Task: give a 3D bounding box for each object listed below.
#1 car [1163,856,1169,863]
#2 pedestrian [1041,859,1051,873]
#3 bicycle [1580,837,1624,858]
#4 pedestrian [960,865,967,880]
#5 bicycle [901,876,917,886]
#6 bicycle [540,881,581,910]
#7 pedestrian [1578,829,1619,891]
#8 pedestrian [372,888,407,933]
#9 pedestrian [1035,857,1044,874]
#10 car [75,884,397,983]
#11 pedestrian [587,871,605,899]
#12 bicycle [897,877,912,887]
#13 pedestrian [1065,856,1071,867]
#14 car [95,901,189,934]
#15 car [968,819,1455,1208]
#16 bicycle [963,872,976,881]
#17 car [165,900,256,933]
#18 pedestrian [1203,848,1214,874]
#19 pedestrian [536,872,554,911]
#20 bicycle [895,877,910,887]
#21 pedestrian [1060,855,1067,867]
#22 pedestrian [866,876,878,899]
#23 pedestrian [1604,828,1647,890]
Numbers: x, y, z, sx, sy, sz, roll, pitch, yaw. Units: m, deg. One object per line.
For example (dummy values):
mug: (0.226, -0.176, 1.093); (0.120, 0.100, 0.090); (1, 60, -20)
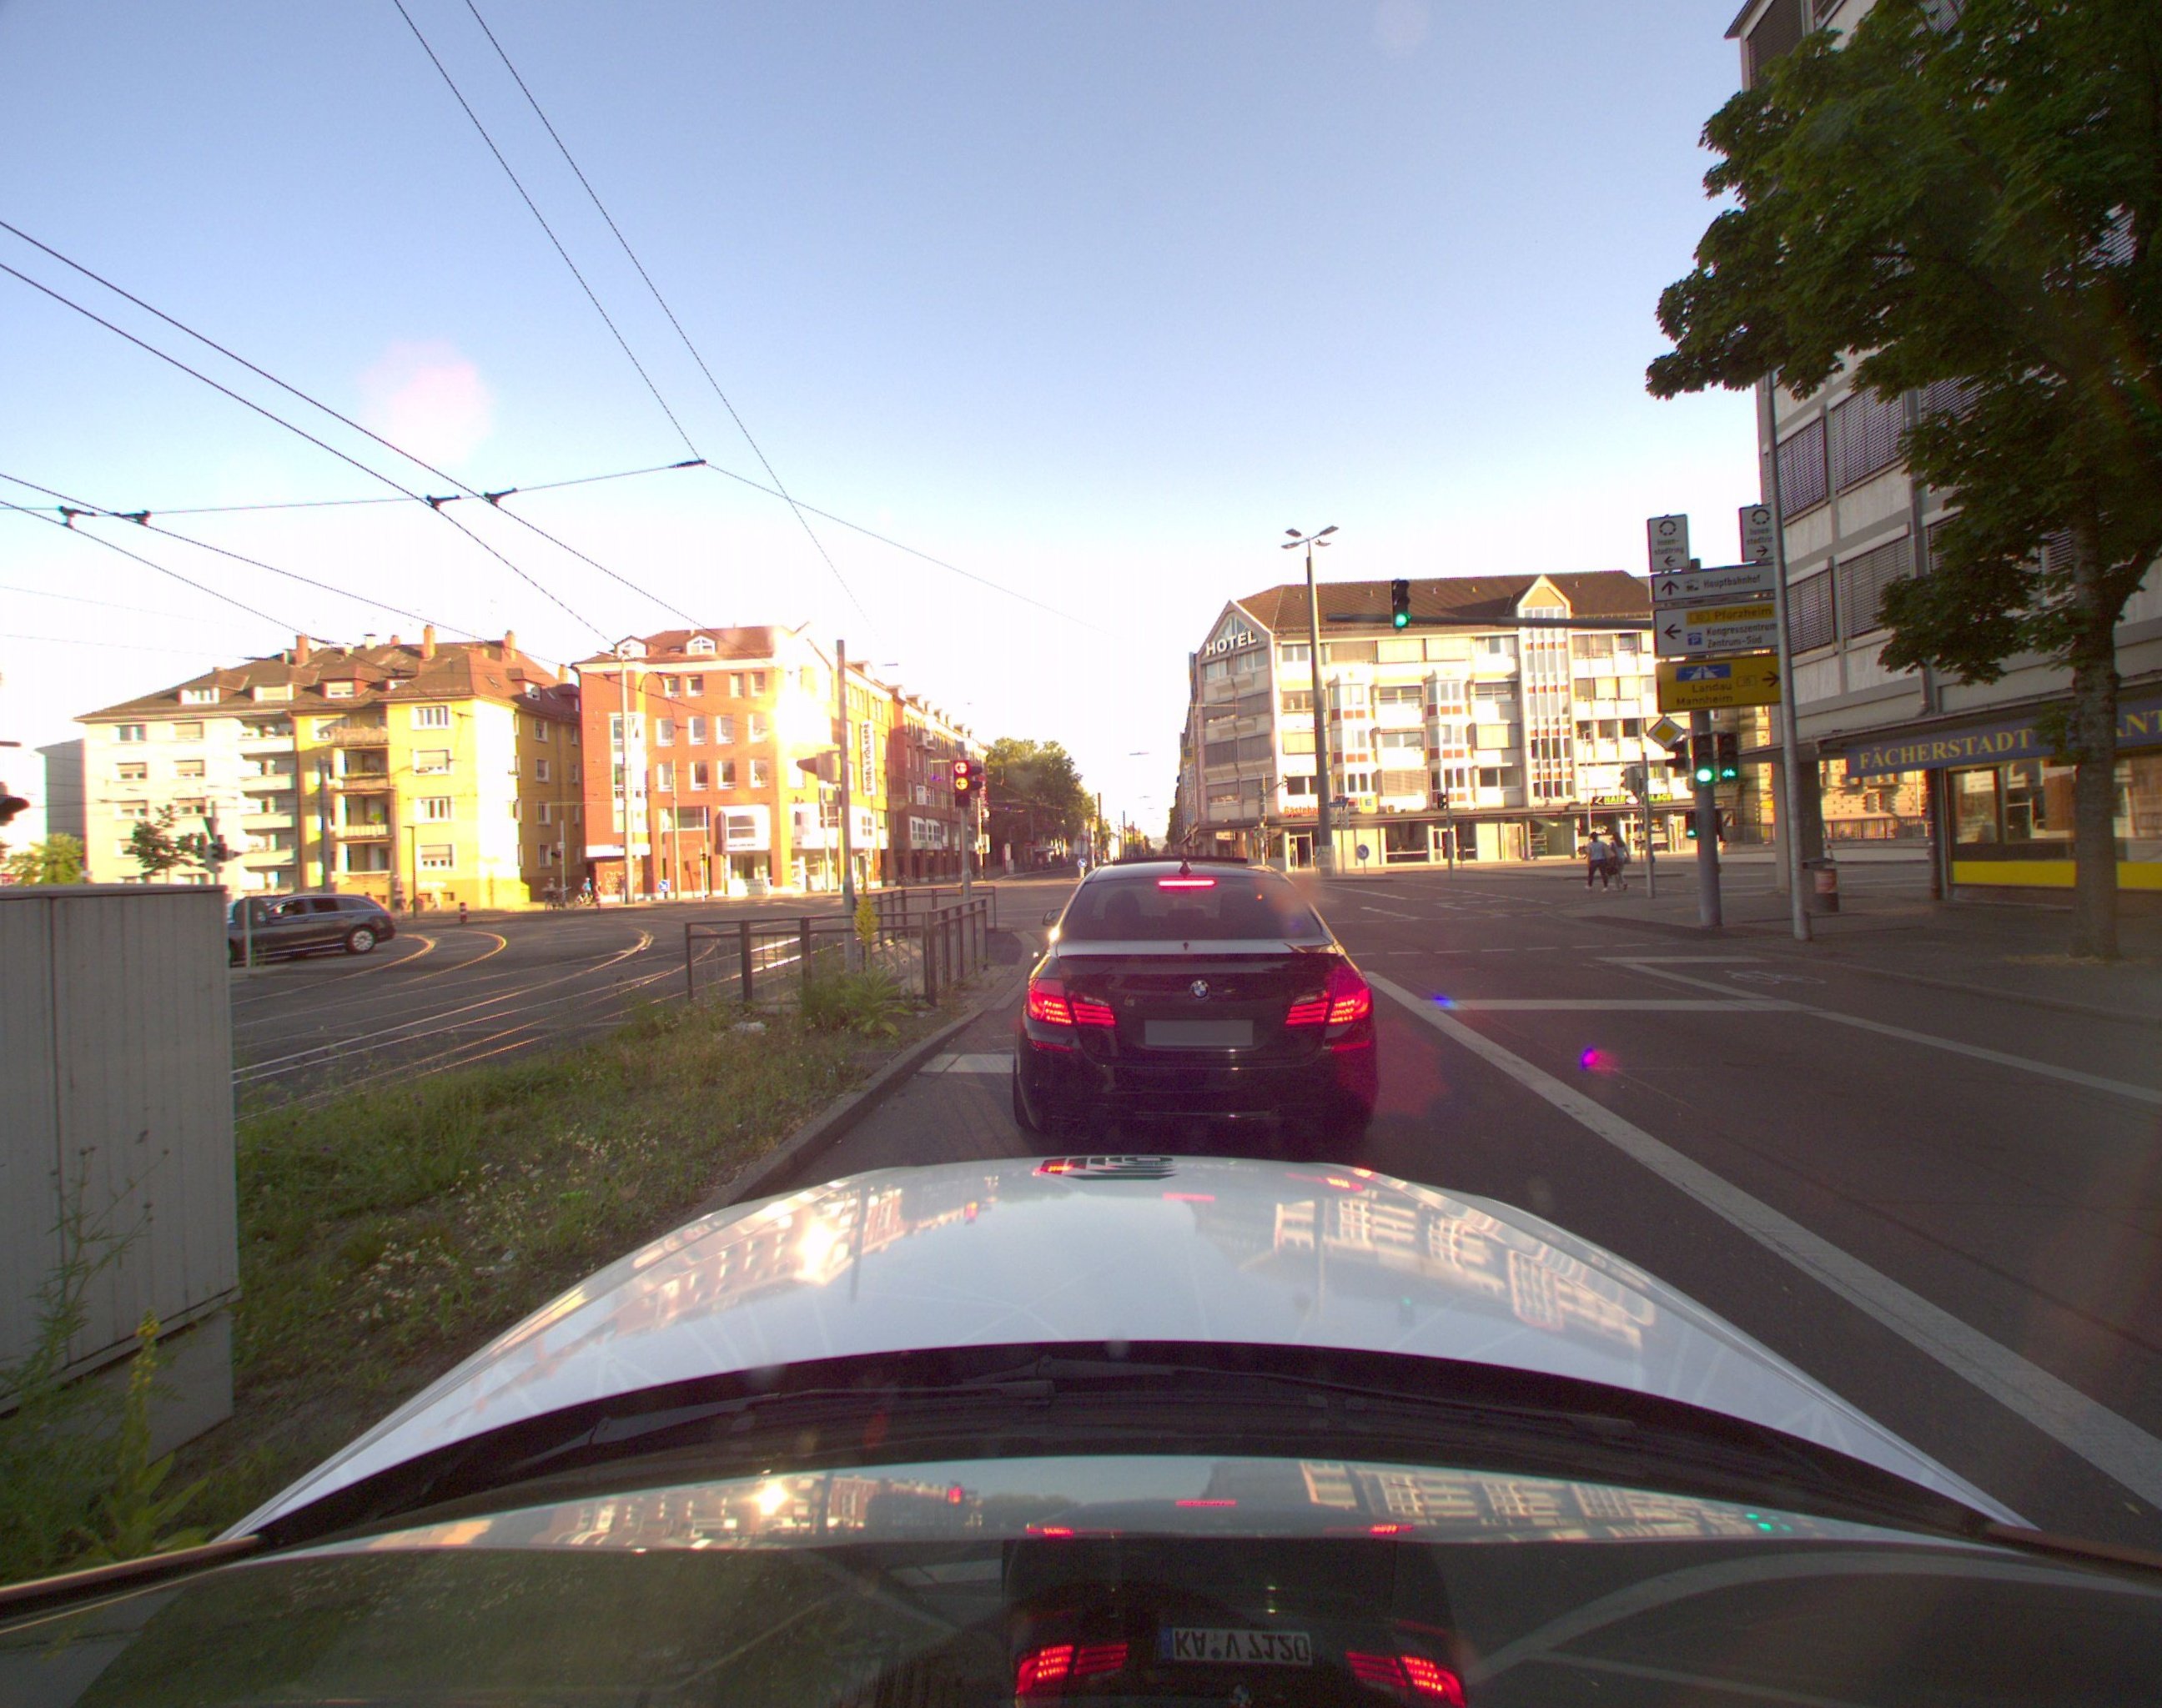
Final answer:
car: (20.143, 1.318, 193.233); (1.466, 1.515, 3.100); (-3, 0, 5)
pedestrian: (-4.257, 1.452, 99.151); (0.983, 1.681, 0.727); (-3, -1, 4)
bicycle: (35.086, -0.443, 54.891); (2.397, 1.265, 0.823); (-3, 0, 0)
pedestrian: (-13.500, 2.123, 93.712); (0.483, 1.681, 0.657); (-3, -1, 10)
bicycle: (-15.733, 2.483, 74.607); (1.413, 0.922, 0.442); (-1, 0, -10)
bicycle: (-25.006, 1.978, 39.178); (0.615, 1.325, 2.017); (-1, 0, 2)
pedestrian: (14.219, 0.166, 22.402); (0.680, 1.667, 0.673); (-3, -1, 9)
pedestrian: (-29.695, 2.419, 34.973); (0.828, 1.868, 0.949); (-1, 0, 36)
pedestrian: (-4.781, 1.336, 94.019); (0.983, 2.014, 0.727); (-1, -1, 4)
car: (-17.587, 1.553, 17.368); (1.985, 1.585, 4.483); (-3, 0, 3)
pedestrian: (-32.880, 2.086, 55.246); (0.802, 1.868, 0.663); (-1, 0, -2)
bicycle: (-15.828, 2.507, 73.191); (1.286, 0.922, 0.348); (-1, 0, -11)
pedestrian: (-1.912, 1.080, 118.861); (0.719, 1.681, 0.993); (-3, -1, 8)
car: (-63.347, 4.282, 54.989); (3.975, 2.014, 1.999); (-1, 0, -1)
car: (0.588, 0.655, 5.348); (1.986, 1.585, 4.001); (0, 0, 1)
bicycle: (-13.015, 2.619, 95.152); (1.412, 0.922, 0.402); (-1, 0, -8)
car: (-58.750, 4.198, 55.012); (3.975, 2.014, 1.999); (-1, 0, -1)
pedestrian: (9.414, 0.499, 60.037); (0.682, 1.854, 0.671); (-3, -1, 2)
pedestrian: (-25.594, 1.788, 38.887); (0.500, 1.868, 0.563); (-1, 0, 0)
bicycle: (-15.930, 2.506, 72.632); (1.281, 0.922, 0.349); (-1, 0, 1)
pedestrian: (-2.523, 1.019, 116.752); (0.719, 1.681, 0.993); (-3, -1, 8)
pedestrian: (-17.069, 2.710, 66.362); (0.626, 1.868, 0.683); (-1, 0, 32)
pedestrian: (15.074, 0.143, 22.572); (0.719, 1.667, 0.673); (-3, -1, 9)
